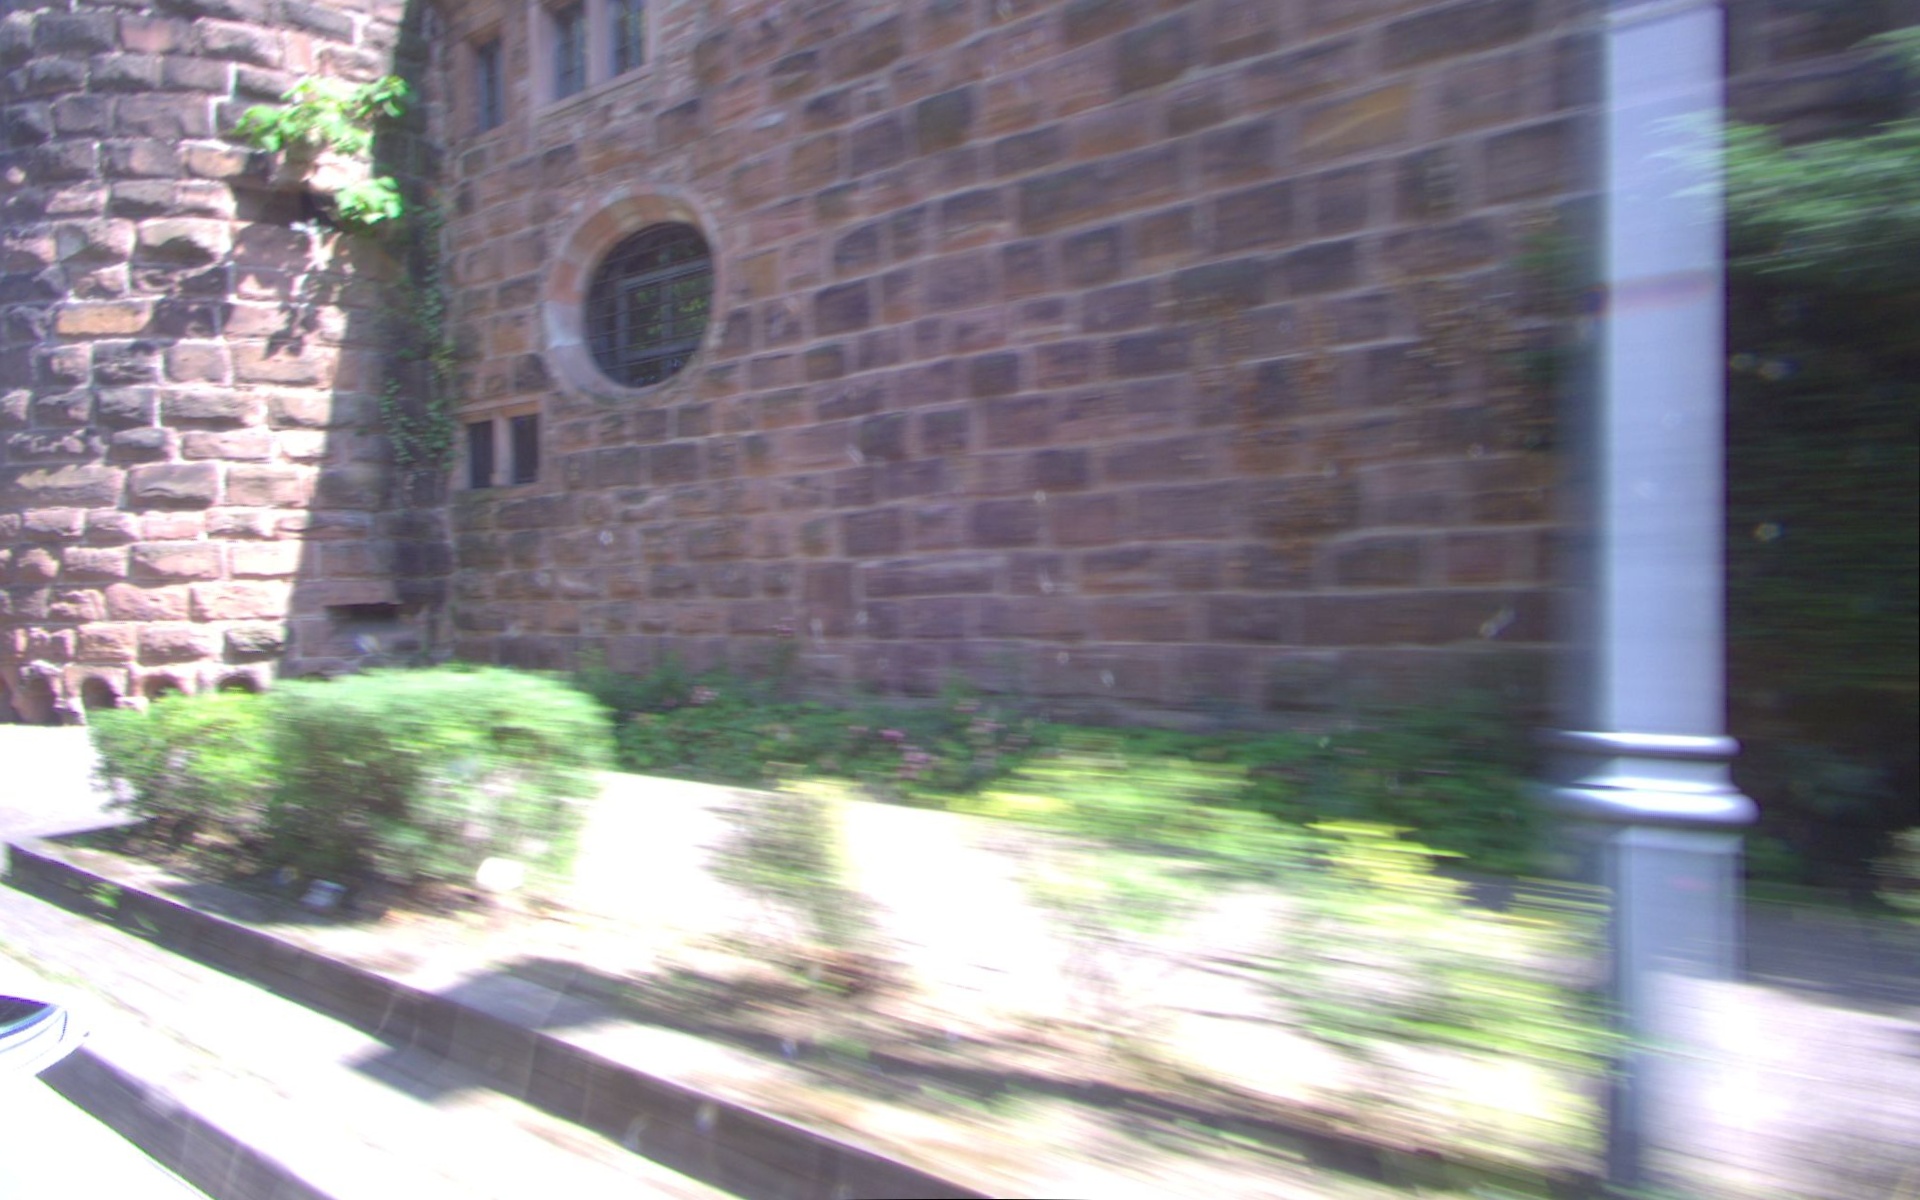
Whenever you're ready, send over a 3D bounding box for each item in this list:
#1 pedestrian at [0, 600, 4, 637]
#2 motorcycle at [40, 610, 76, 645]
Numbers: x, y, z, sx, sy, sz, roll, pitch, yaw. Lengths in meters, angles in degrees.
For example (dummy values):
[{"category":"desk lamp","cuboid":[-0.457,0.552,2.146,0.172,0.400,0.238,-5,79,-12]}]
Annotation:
[{"category":"pedestrian","cuboid":[-40.802,0.775,42.158,0.618,1.537,0.656,0,-1,34]},{"category":"motorcycle","cuboid":[-26.426,0.804,29.336,1.339,0.985,0.435,0,-2,33]}]
